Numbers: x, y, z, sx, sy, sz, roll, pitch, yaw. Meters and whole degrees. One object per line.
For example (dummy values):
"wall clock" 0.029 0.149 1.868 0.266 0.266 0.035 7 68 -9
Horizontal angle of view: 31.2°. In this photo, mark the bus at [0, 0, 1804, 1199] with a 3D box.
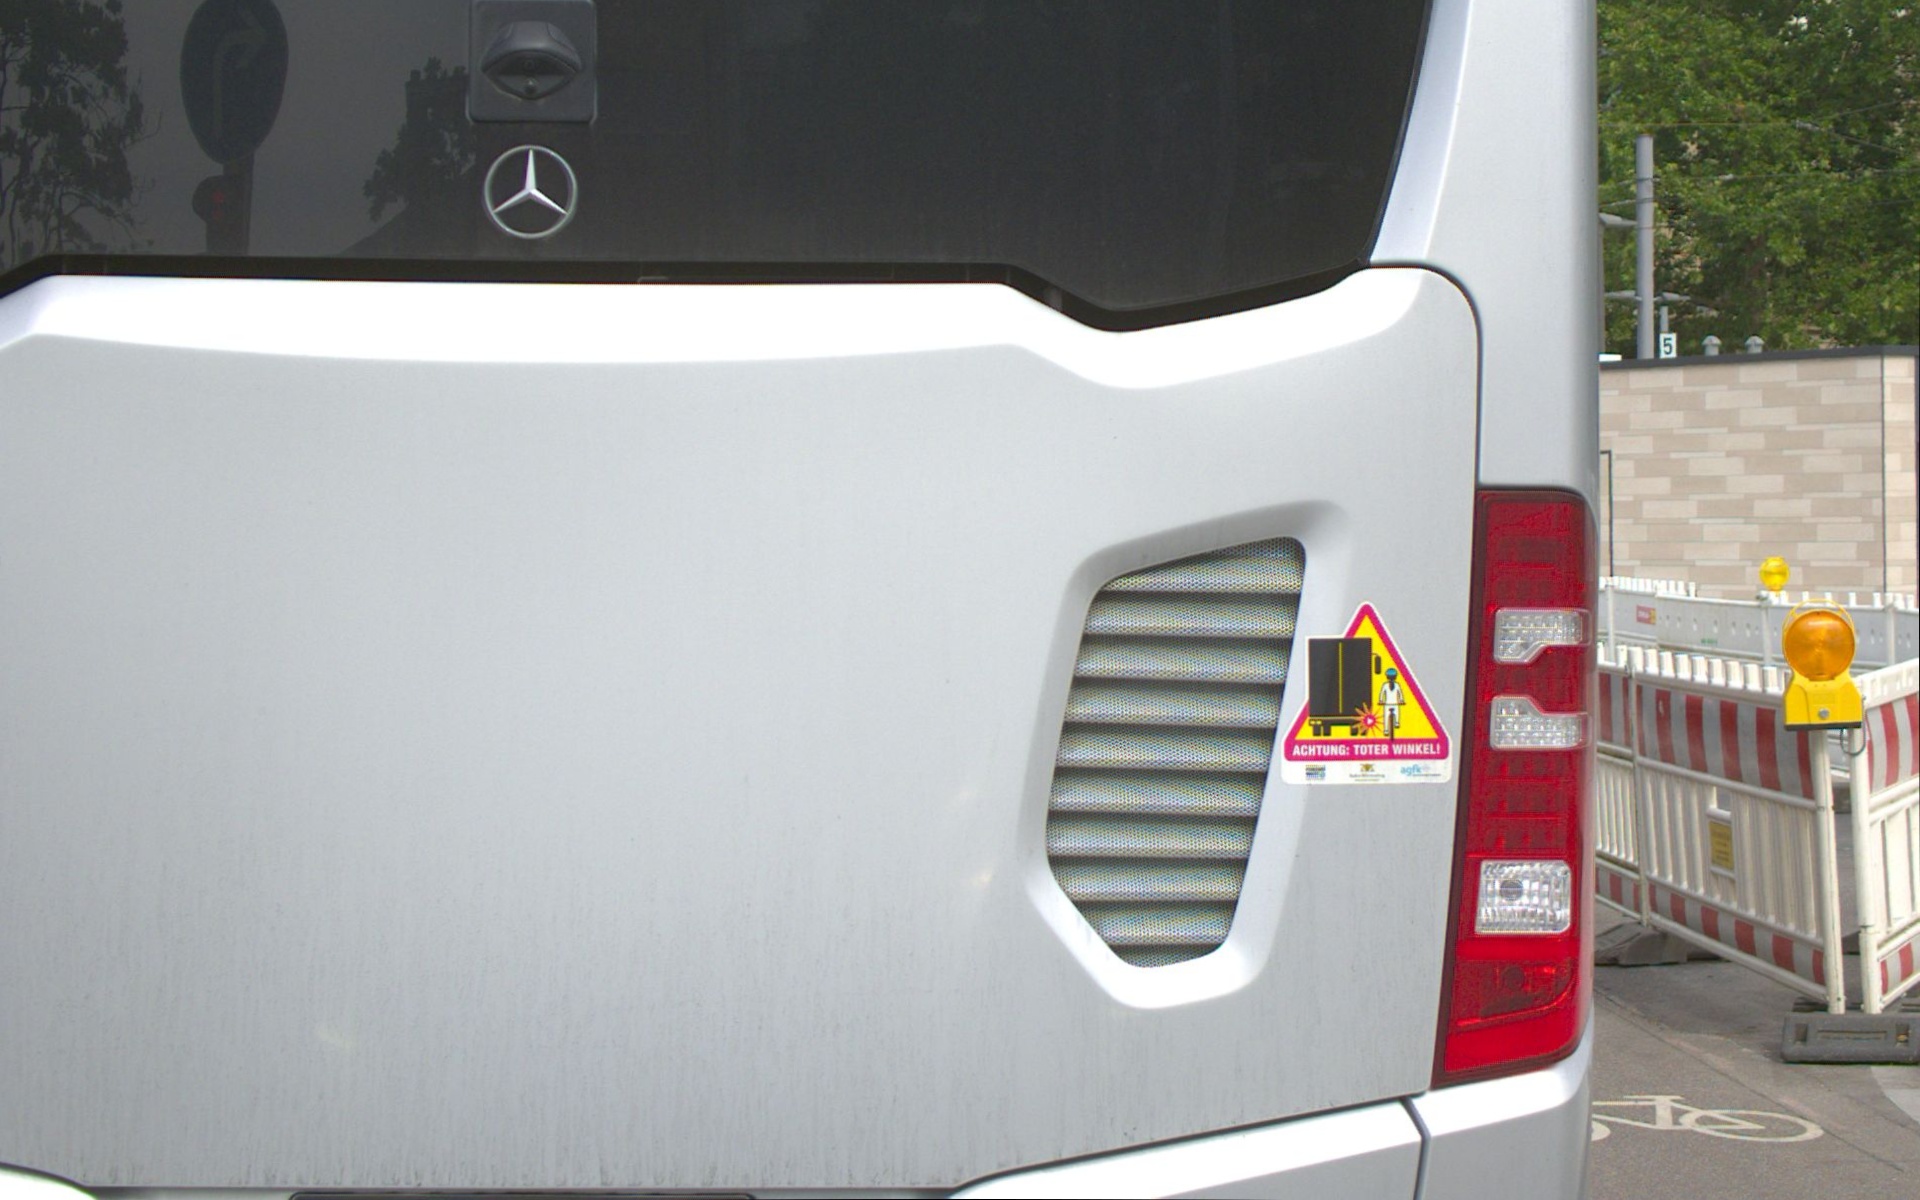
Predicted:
"bus" -0.621 -0.274 10.558 2.704 3.426 14.185 0 1 -1
